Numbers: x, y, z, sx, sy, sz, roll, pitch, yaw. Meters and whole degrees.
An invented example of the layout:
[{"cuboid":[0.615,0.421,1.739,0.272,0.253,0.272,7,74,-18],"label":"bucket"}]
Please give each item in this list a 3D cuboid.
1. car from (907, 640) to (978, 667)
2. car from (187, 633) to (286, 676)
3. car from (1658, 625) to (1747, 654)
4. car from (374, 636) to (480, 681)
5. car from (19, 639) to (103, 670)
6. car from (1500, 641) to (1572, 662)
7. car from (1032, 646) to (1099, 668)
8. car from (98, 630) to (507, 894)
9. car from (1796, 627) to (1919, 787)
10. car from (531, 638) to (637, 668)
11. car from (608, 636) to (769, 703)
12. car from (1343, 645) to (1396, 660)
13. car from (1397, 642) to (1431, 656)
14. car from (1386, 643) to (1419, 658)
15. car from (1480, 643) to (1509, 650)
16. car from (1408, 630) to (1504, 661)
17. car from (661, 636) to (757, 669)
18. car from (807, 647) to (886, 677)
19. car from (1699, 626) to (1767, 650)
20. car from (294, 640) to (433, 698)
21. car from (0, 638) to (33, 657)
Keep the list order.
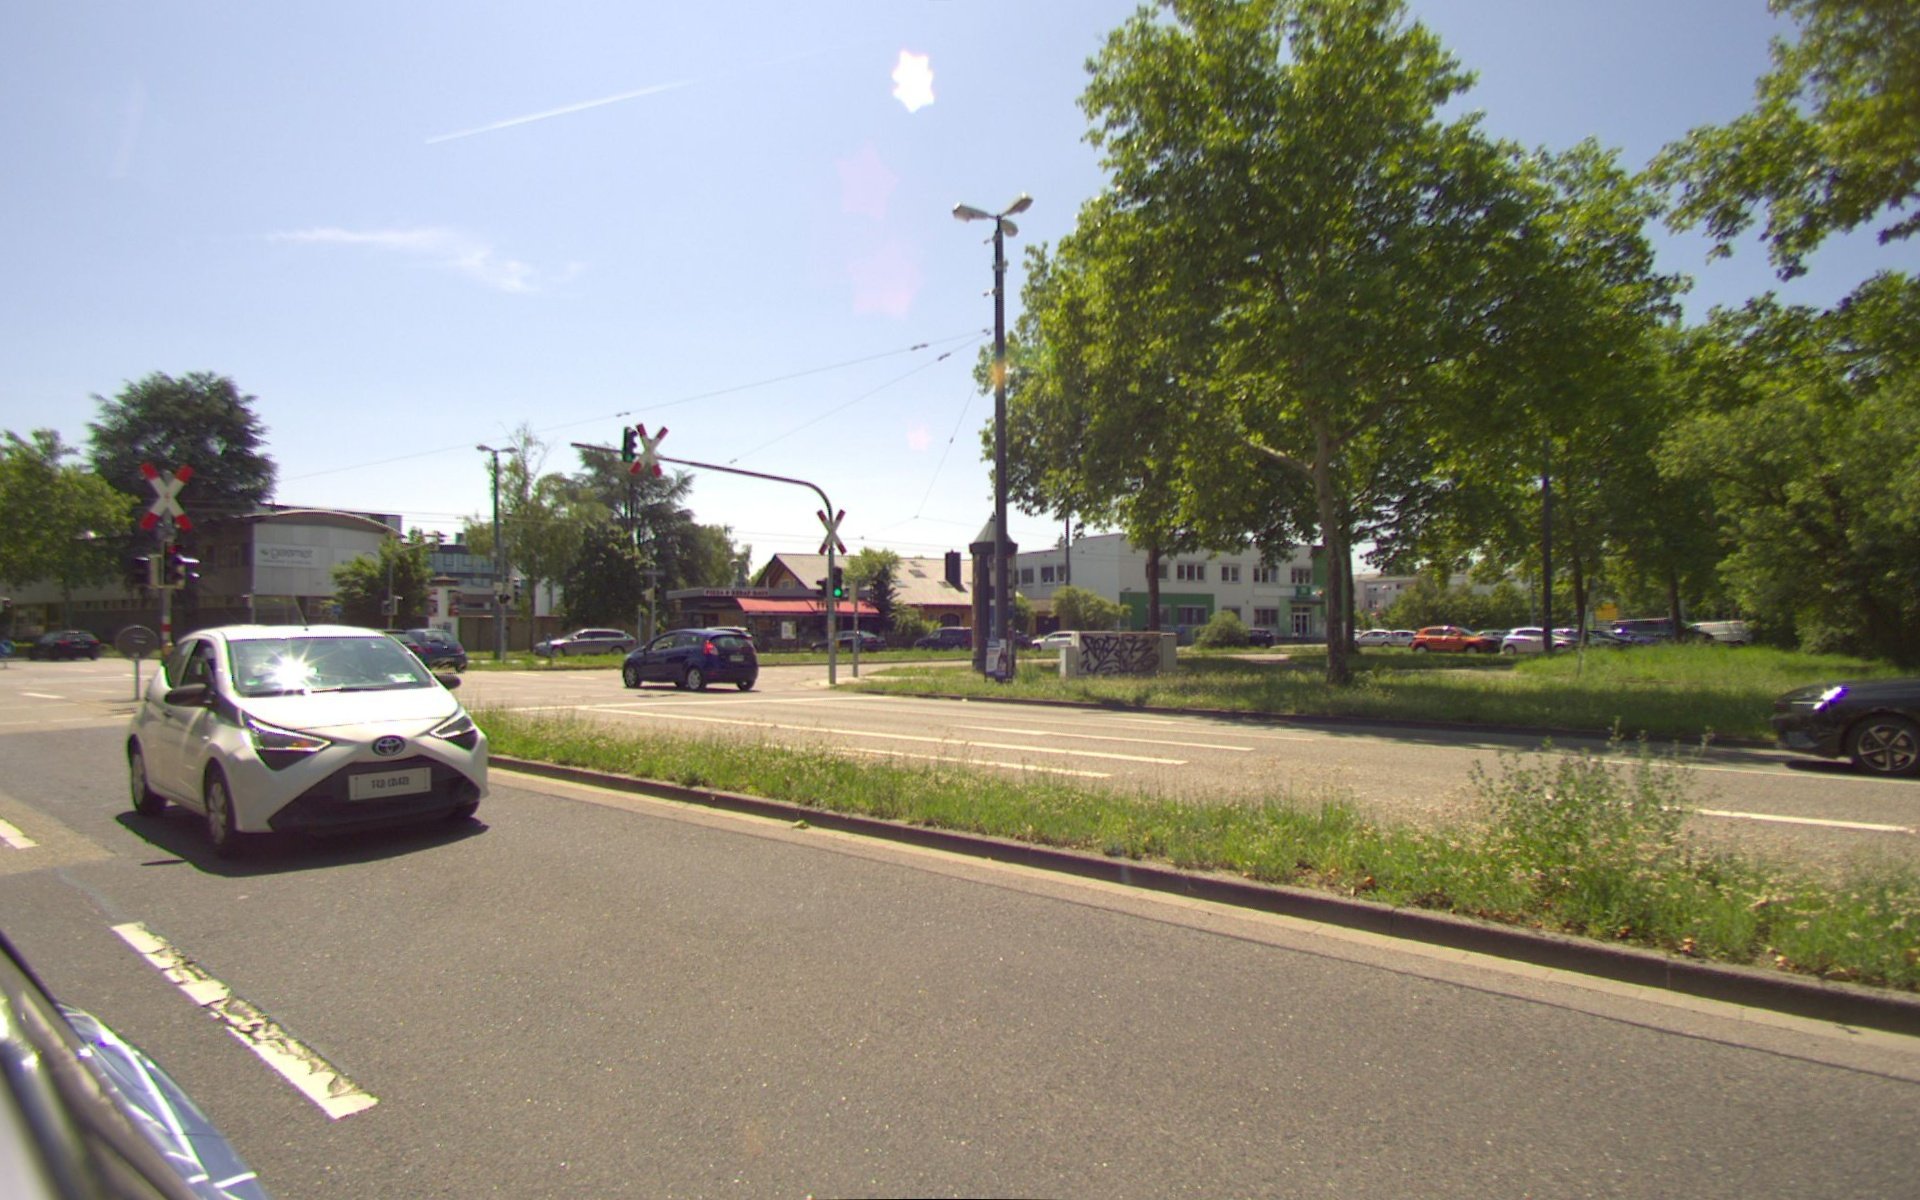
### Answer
[{"cuboid":[-1.115,3.355,63.791,4.179,1.663,1.765,-2,-3,32],"label":"car"},{"cuboid":[-28.767,2.160,40.212,4.392,1.627,1.772,-2,-3,34],"label":"car"},{"cuboid":[42.464,2.262,57.911,1.599,1.621,3.774,1,-2,-37],"label":"car"},{"cuboid":[-17.187,1.861,32.606,3.549,1.372,1.787,-2,-3,39],"label":"car"},{"cuboid":[-44.401,2.668,49.954,4.732,1.451,1.933,-2,-2,33],"label":"car"},{"cuboid":[31.242,2.788,54.946,1.366,1.093,3.057,2,-3,-38],"label":"car"},{"cuboid":[7.048,3.790,67.727,4.051,1.434,1.924,-2,-3,35],"label":"car"},{"cuboid":[-5.042,0.987,7.579,3.649,1.456,1.602,-2,-1,41],"label":"car"},{"cuboid":[10.775,0.999,9.395,4.589,1.518,1.794,-2,-3,40],"label":"car"},{"cuboid":[-18.389,2.572,49.503,4.591,1.391,1.893,1,-2,-31],"label":"car"},{"cuboid":[-6.568,1.611,24.335,3.861,1.466,1.705,-2,-2,36],"label":"car"},{"cuboid":[34.134,4.394,84.430,3.885,1.215,1.346,-2,-3,36],"label":"car"},{"cuboid":[39.328,4.228,87.709,2.601,1.215,1.110,-1,-2,28],"label":"car"},{"cuboid":[37.335,4.244,85.440,2.443,1.215,1.110,-1,-2,28],"label":"car"},{"cuboid":[48.818,4.215,92.468,2.285,0.648,0.766,-2,-3,36],"label":"car"},{"cuboid":[24.781,2.249,50.696,1.435,1.407,4.147,0,-1,-35],"label":"car"},{"cuboid":[-12.920,2.670,52.121,4.384,1.617,2.223,1,-3,-27],"label":"car"},{"cuboid":[-6.763,3.663,60.026,4.553,1.663,1.765,-2,-3,31],"label":"car"},{"cuboid":[48.979,2.412,64.159,1.453,1.500,3.071,1,-2,-33],"label":"car"},{"cuboid":[-15.921,1.802,26.941,4.172,1.406,1.719,-2,-4,38],"label":"car"},{"cuboid":[-86.568,4.350,92.475,3.513,1.660,1.803,-1,-1,30],"label":"car"}]
